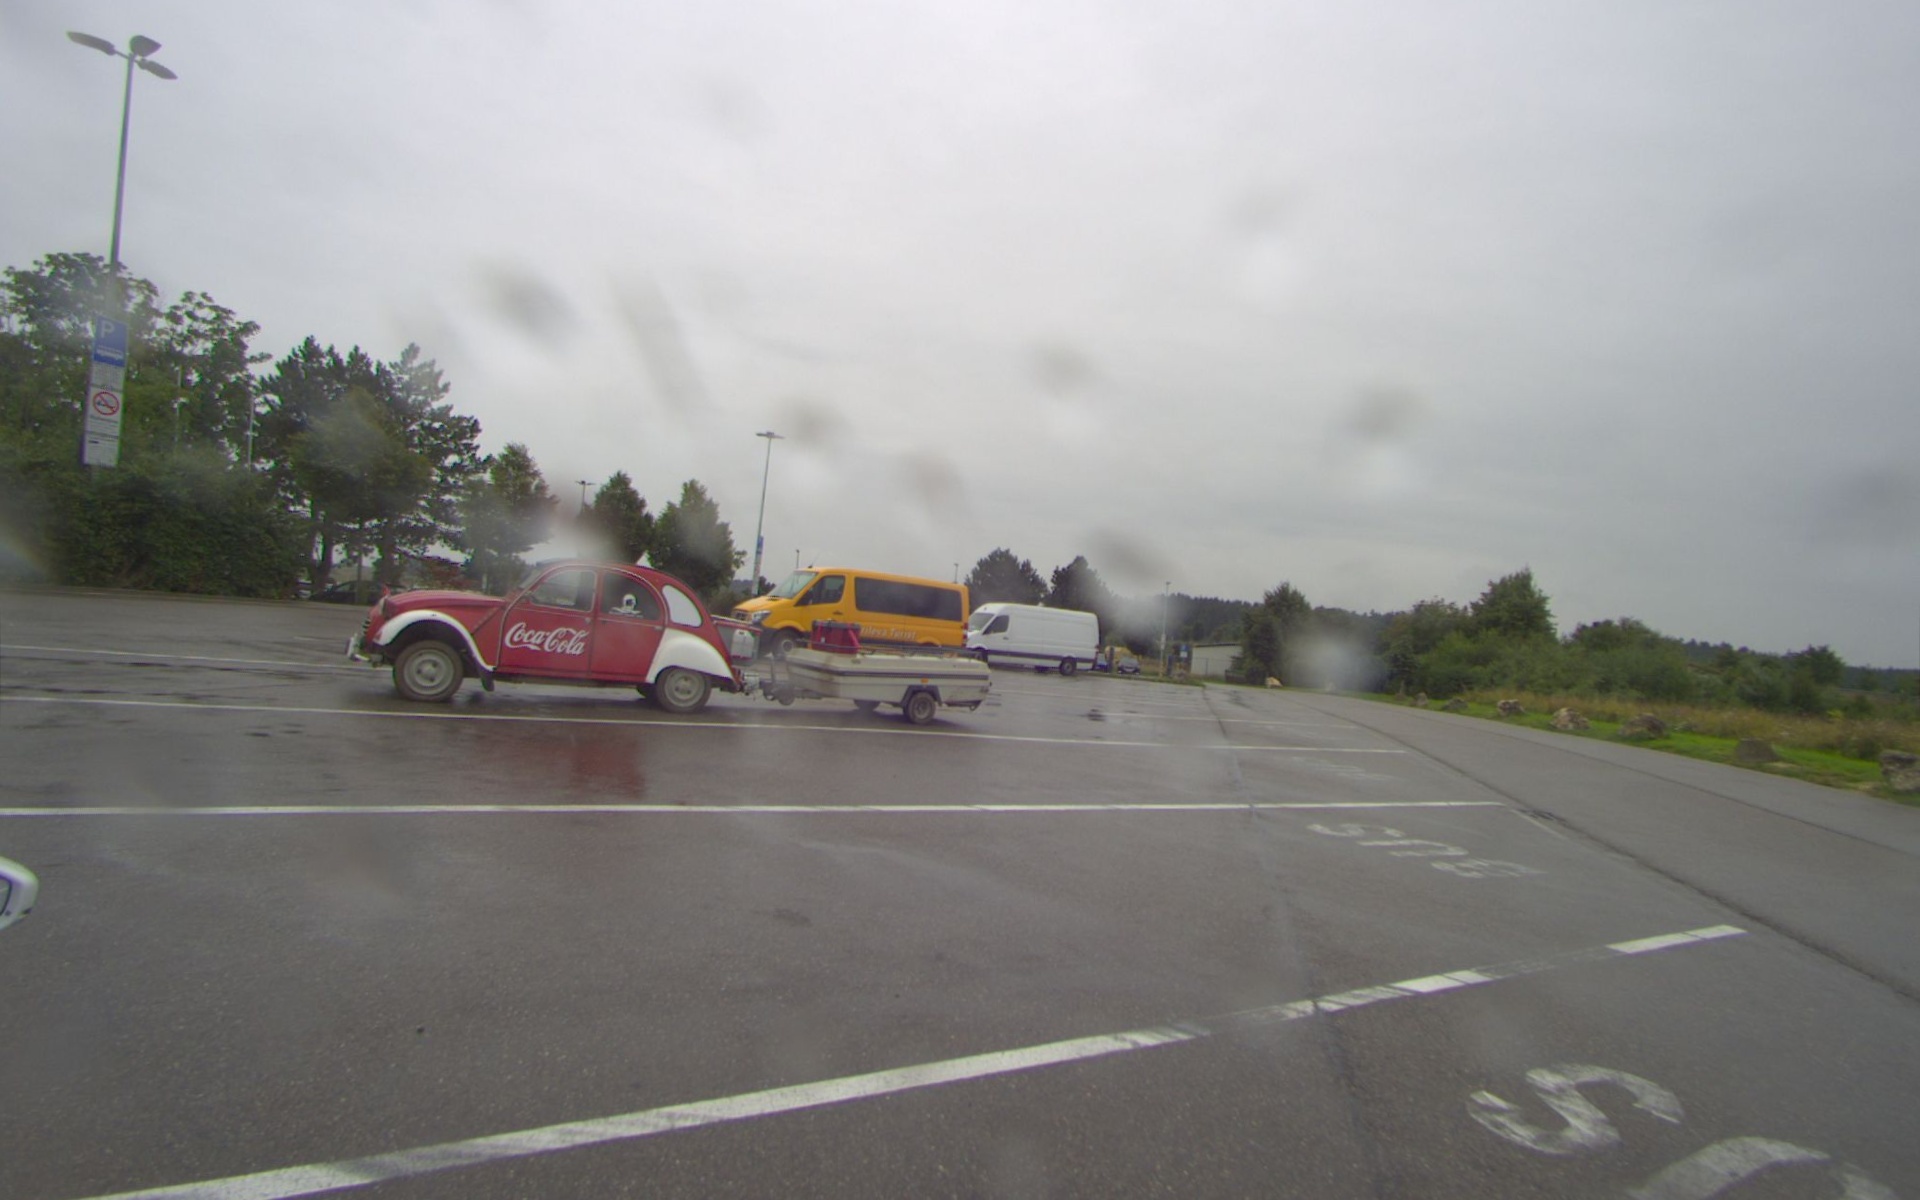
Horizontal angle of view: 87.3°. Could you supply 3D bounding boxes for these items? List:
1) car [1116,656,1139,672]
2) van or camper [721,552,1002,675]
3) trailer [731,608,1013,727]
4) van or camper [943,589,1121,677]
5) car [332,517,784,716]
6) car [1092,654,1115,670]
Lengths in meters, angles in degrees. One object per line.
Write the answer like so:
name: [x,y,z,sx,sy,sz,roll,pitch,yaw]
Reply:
car: [13.495,5.149,81.249,1.676,1.012,3.769,6,0,9]
van or camper: [-2.286,0.376,24.354,6.349,2.274,2.117,7,0,-31]
trailer: [-1.071,0.832,12.308,2.995,1.080,1.578,7,-1,-28]
van or camper: [2.971,1.369,40.131,6.993,2.750,1.983,7,2,-31]
car: [-4.064,0.229,10.504,4.009,1.575,1.539,6,0,-28]
car: [11.653,4.997,81.529,1.676,1.012,3.769,6,0,9]
